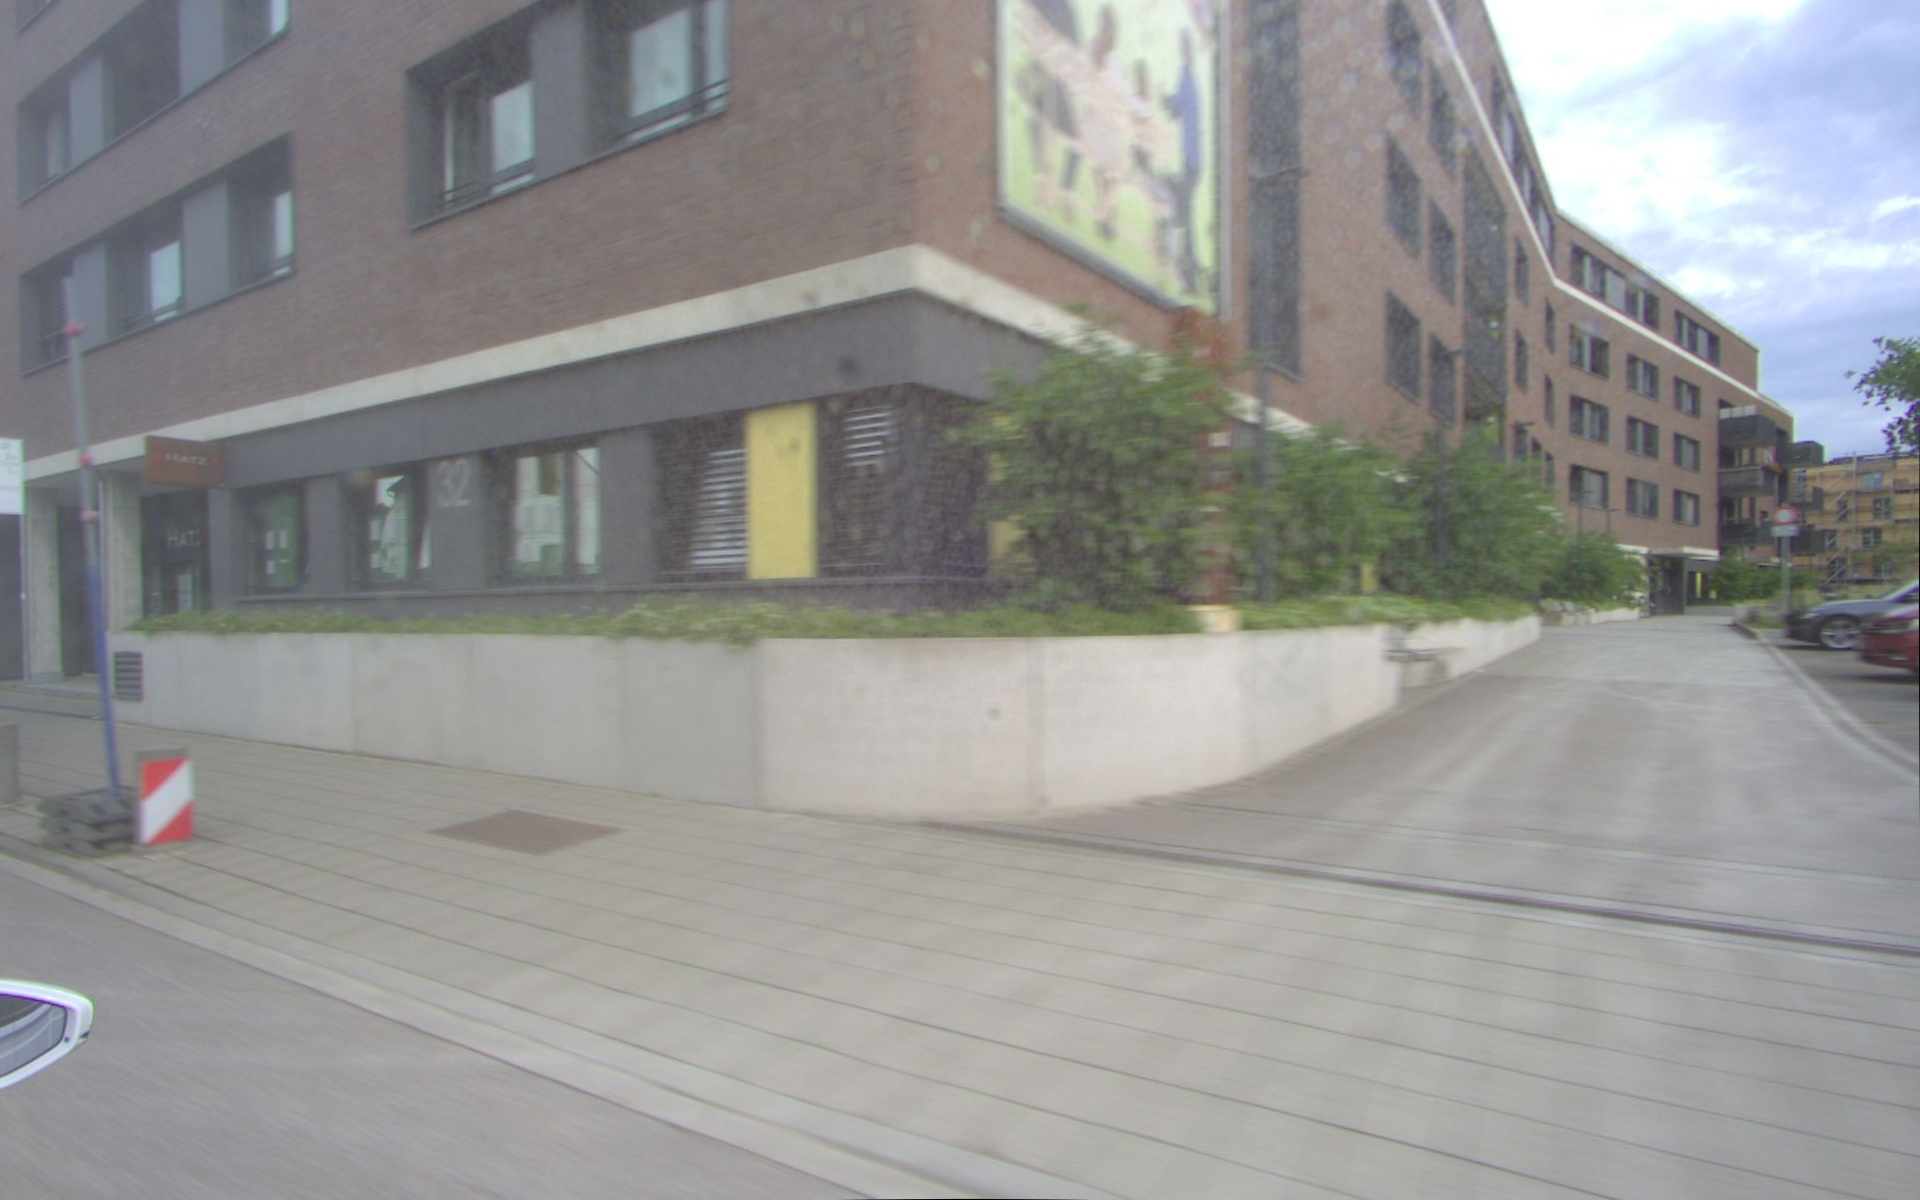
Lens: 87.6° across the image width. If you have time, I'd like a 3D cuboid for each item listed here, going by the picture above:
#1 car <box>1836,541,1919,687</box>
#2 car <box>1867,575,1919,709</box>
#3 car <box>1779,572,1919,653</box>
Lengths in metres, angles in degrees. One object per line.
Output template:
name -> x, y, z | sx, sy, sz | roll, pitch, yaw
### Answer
car -> 14.267, 0.130, 12.771 | 4.355, 1.869, 1.919 | -1, 1, 31
car -> 12.540, 0.405, 10.430 | 4.282, 1.437, 1.760 | -1, 1, 30
car -> 18.026, 0.209, 18.568 | 4.291, 1.437, 1.756 | -1, 1, 37
